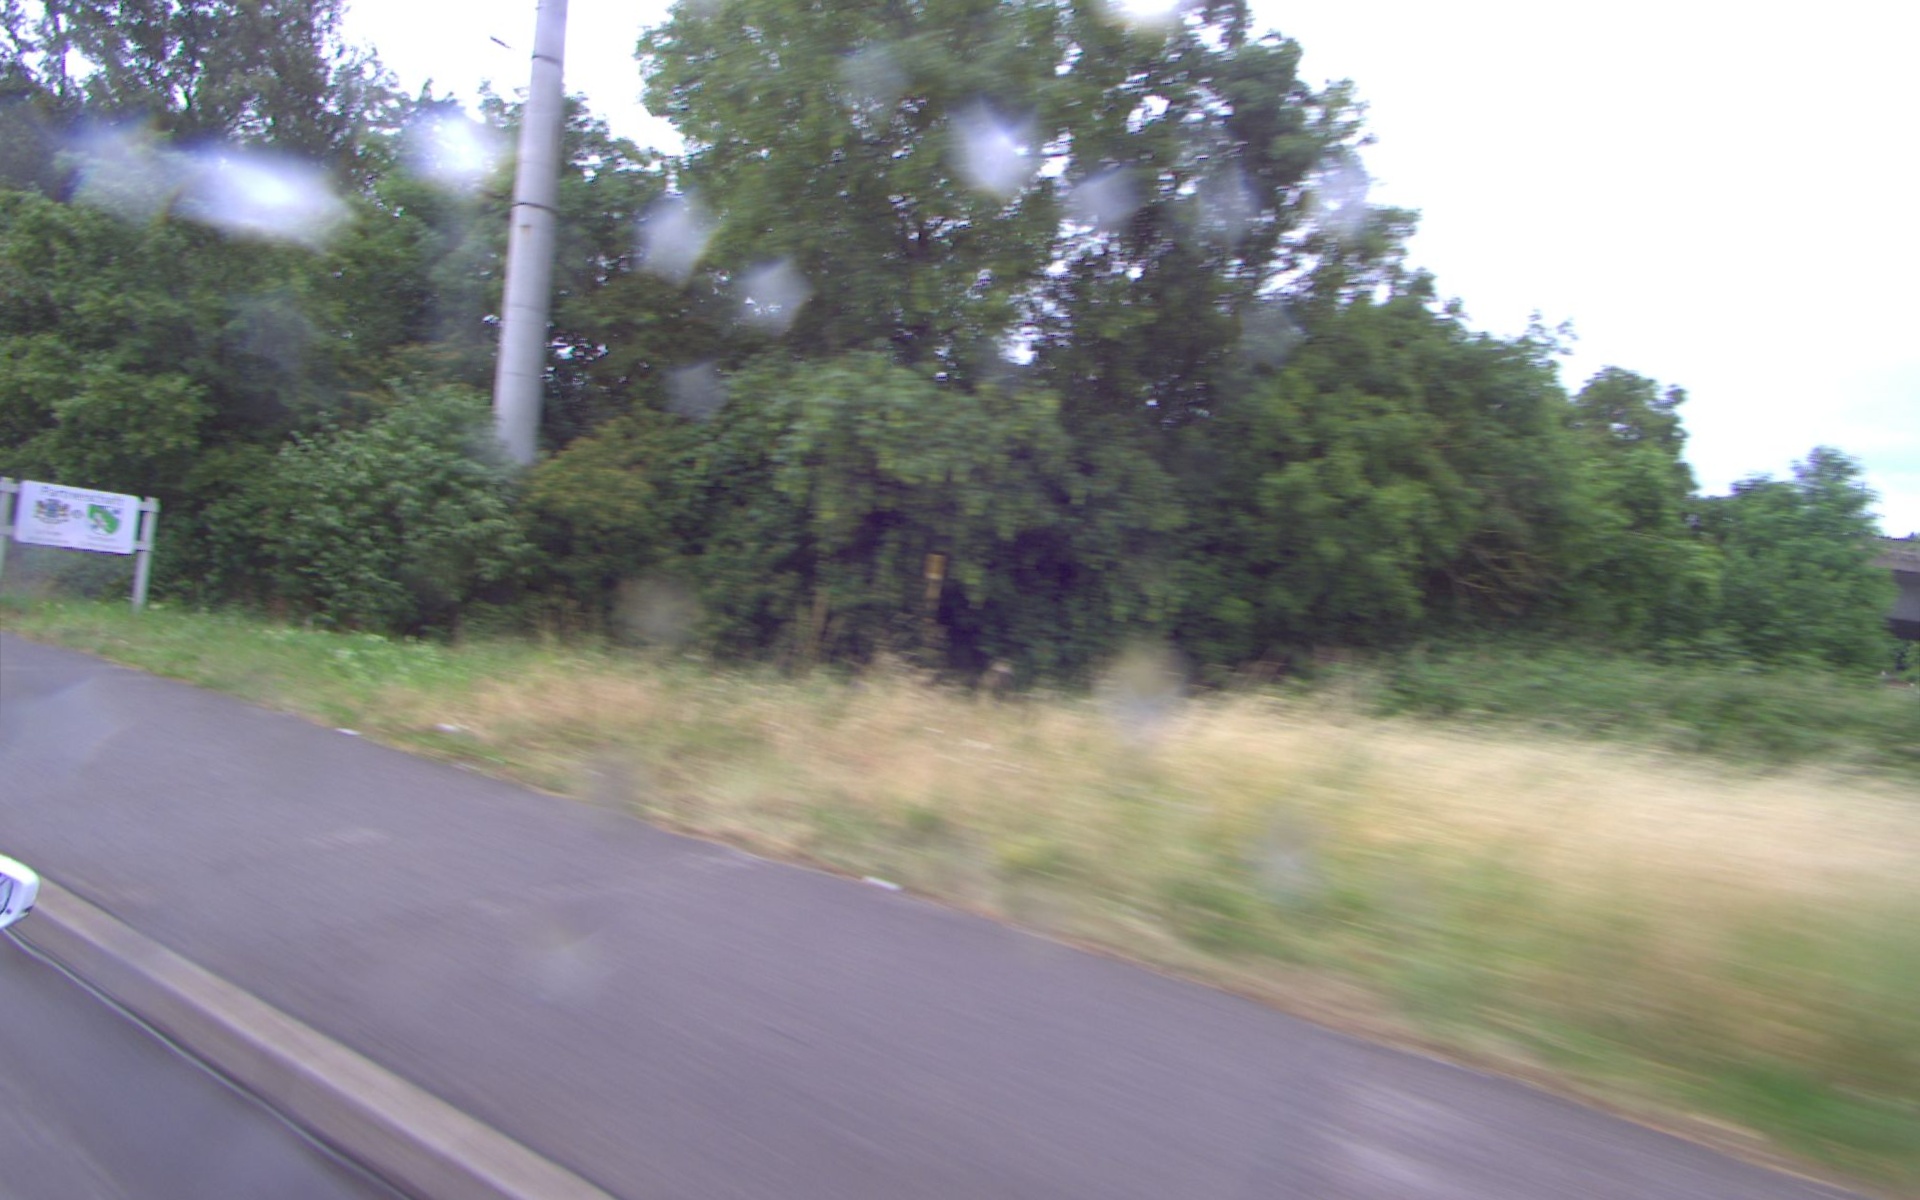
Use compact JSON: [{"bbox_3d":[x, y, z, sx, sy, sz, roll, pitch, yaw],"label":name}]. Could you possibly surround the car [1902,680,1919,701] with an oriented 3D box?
[{"bbox_3d":[72.710,6.864,75.351,1.869,1.503,3.996,7,0,27],"label":"car"}]
